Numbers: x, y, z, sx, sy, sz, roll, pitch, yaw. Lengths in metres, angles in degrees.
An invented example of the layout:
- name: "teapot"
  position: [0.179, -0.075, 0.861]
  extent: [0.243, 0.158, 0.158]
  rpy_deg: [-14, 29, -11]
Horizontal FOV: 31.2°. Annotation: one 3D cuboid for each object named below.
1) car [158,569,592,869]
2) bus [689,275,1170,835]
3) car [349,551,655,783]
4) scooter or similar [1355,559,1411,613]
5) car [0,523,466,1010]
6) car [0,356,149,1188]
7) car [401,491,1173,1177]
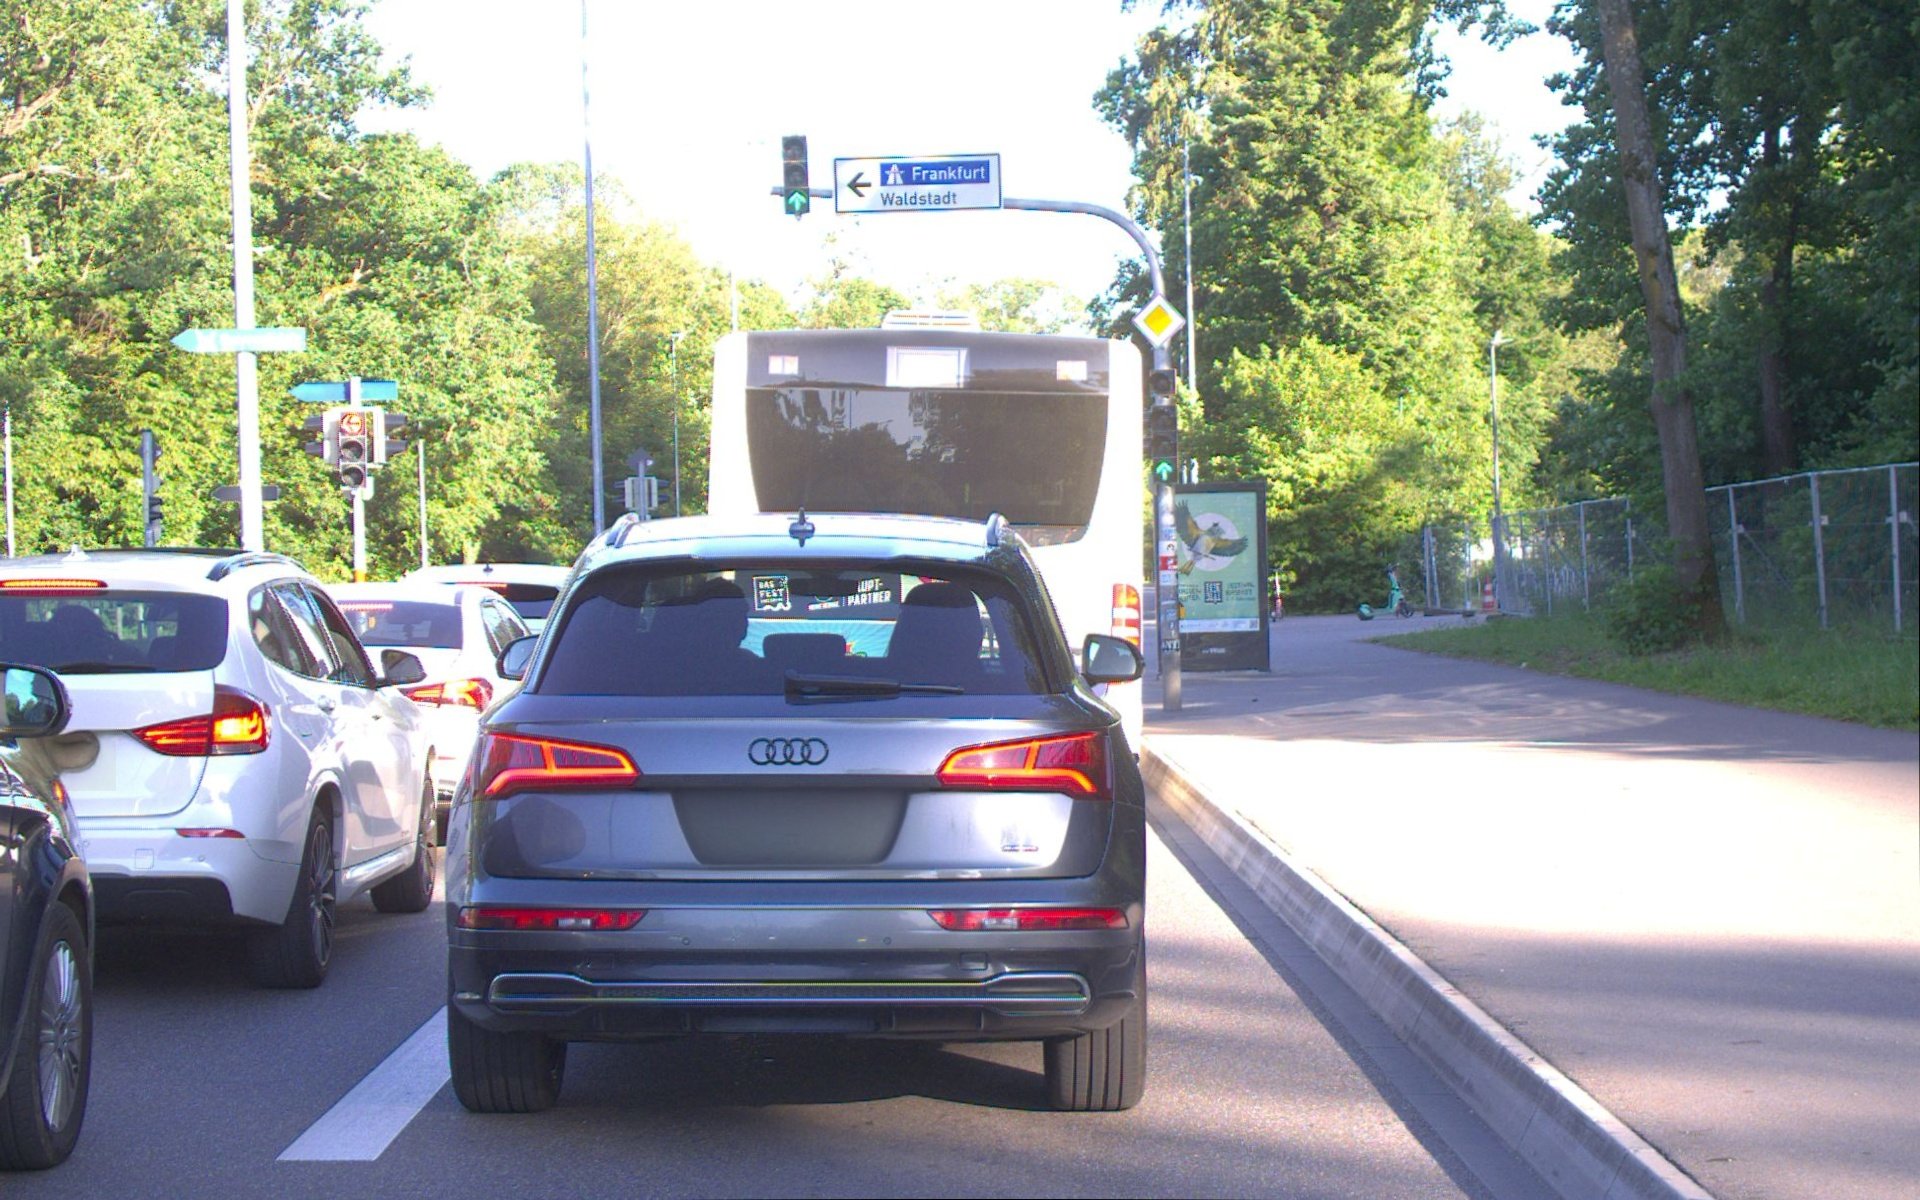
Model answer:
- name: "car"
  position: [-3.180, 0.583, 19.481]
  extent: [1.785, 1.439, 4.278]
  rpy_deg: [1, 1, -1]
- name: "bus"
  position: [-0.144, -0.316, 22.405]
  extent: [2.678, 3.131, 5.882]
  rpy_deg: [1, 1, 1]
- name: "car"
  position: [-3.371, 0.441, 25.982]
  extent: [1.808, 1.567, 4.000]
  rpy_deg: [1, 1, -1]
- name: "scooter or similar"
  position: [9.365, -0.316, 76.085]
  extent: [1.184, 1.170, 0.659]
  rpy_deg: [1, 1, 11]
- name: "car"
  position: [-3.093, 0.545, 13.434]
  extent: [1.718, 1.575, 4.434]
  rpy_deg: [1, 0, -1]
- name: "car"
  position: [-3.070, 0.392, 6.618]
  extent: [1.907, 1.849, 4.873]
  rpy_deg: [1, 1, -1]
- name: "car"
  position: [-0.449, 0.532, 10.418]
  extent: [1.868, 1.658, 4.000]
  rpy_deg: [1, 1, -1]
